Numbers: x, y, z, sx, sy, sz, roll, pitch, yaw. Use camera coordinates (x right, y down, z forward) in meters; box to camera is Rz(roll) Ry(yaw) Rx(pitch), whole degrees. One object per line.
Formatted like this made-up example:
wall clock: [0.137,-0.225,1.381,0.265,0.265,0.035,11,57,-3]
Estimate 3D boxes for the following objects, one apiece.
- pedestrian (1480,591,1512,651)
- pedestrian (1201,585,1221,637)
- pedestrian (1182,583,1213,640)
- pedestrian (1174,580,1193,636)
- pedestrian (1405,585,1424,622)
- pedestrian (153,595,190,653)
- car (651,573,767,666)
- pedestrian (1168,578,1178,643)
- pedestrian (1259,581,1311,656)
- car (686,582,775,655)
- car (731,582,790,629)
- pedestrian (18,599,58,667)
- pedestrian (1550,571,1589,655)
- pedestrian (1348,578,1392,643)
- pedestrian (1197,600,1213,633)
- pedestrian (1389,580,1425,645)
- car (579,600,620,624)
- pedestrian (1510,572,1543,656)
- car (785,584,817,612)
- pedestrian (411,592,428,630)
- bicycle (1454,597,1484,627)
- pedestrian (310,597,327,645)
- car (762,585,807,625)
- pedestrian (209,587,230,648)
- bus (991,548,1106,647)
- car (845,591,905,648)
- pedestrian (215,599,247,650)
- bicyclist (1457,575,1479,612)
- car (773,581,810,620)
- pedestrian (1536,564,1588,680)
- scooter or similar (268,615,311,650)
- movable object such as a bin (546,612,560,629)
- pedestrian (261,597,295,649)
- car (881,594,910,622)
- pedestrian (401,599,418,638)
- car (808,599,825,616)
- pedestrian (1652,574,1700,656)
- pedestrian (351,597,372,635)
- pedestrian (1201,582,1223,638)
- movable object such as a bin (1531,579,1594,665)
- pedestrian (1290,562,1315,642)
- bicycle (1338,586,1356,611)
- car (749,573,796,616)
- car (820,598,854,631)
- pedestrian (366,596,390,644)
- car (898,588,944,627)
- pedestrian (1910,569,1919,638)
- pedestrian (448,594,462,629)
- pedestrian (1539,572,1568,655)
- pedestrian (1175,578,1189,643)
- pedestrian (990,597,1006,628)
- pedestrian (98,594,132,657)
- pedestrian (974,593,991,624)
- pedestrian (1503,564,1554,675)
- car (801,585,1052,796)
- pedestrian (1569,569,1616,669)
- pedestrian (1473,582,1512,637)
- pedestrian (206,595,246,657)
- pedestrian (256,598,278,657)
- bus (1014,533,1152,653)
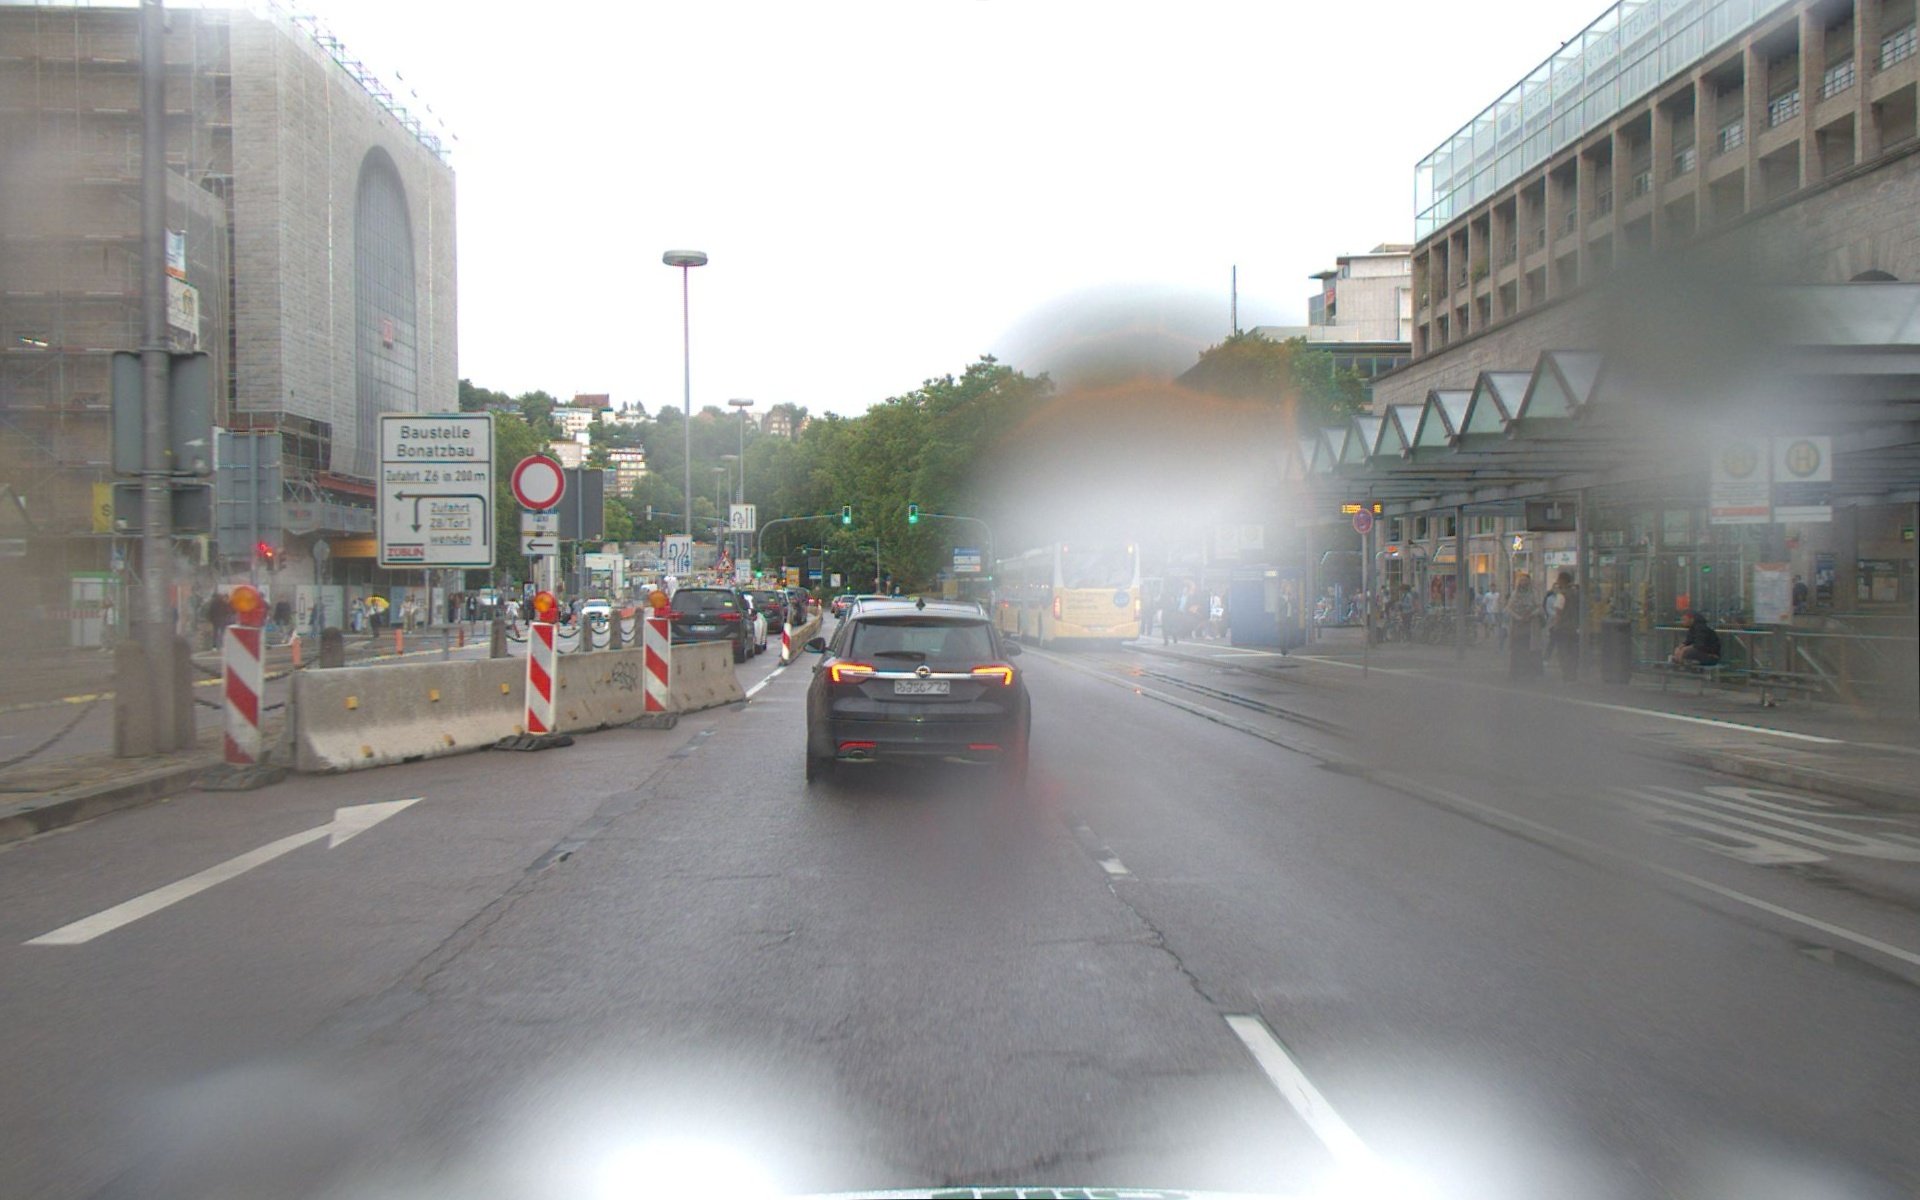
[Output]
pedestrian: [12.720,0.492,39.259,0.541,1.401,0.507,0,0,-8]
pedestrian: [8.510,0.363,56.001,0.597,1.753,0.592,0,0,1]
pedestrian: [7.824,0.363,54.418,0.963,1.869,0.836,0,0,13]
pedestrian: [7.565,0.265,56.038,0.553,1.869,0.569,0,0,0]
pedestrian: [22.928,0.184,83.483,0.717,1.823,0.788,-1,0,-4]
pedestrian: [-26.047,0.788,54.642,0.786,1.873,0.868,0,0,0]
car: [-5.488,0.401,36.689,1.953,1.895,4.831,-1,0,-2]
pedestrian: [6.152,0.300,47.842,0.238,1.869,0.512,0,0,0]
pedestrian: [7.524,0.425,38.290,0.749,1.720,0.991,0,0,-24]
car: [-5.785,0.437,42.194,1.954,1.736,4.828,-1,0,-5]
car: [-7.440,0.190,62.023,1.954,1.683,4.637,-1,0,-5]
pedestrian: [-25.505,0.905,45.776,0.727,1.873,0.656,0,0,0]
pedestrian: [13.684,0.279,37.124,0.599,1.863,0.587,0,0,-32]
pedestrian: [11.855,0.294,47.823,0.779,1.836,0.982,0,0,-31]
pedestrian: [9.517,0.627,64.264,0.504,1.254,0.770,-1,0,0]
pedestrian: [12.026,0.323,44.553,0.733,1.724,0.902,0,0,0]
car: [-23.565,0.799,108.169,1.954,1.493,3.997,1,0,-3]
pedestrian: [13.002,0.319,37.977,0.594,1.892,0.625,0,0,6]
car: [-10.858,-0.128,112.601,1.956,1.878,5.054,1,-1,-7]
pedestrian: [-26.943,0.563,82.433,0.759,1.873,0.831,0,0,-17]
bicycle: [22.012,0.511,71.555,0.646,1.277,2.012,0,0,-1]
pedestrian: [-25.116,0.831,64.731,0.561,1.873,0.701,0,0,-17]
car: [-8.400,0.226,79.501,1.954,1.818,4.843,-1,0,-5]
pedestrian: [-22.912,0.547,51.185,0.331,1.873,0.509,0,0,12]
bus: [3.045,-0.059,59.871,3.052,3.261,9.234,1,0,-4]
car: [-2.664,0.594,52.396,1.794,1.715,4.132,0,0,-2]
pedestrian: [-27.216,0.910,61.744,0.786,1.873,0.850,0,0,0]
bicyclist: [21.986,-0.270,71.572,0.636,1.581,0.907,-1,-1,-1]
car: [-8.620,0.017,84.956,1.680,1.925,4.606,-1,0,-4]
pedestrian: [9.812,0.358,26.964,0.614,1.869,0.641,0,0,-1]
scooter or similar: [-21.248,1.012,52.449,0.450,1.084,1.237,0,0,31]
movable object such as a bin: [-24.607,1.244,99.960,0.744,0.987,0.720,-1,0,-6]
pedestrian: [-25.197,0.842,61.103,0.822,1.873,1.058,0,0,0]
car: [-3.919,0.487,99.839,1.641,1.609,3.237,1,-1,-4]
pedestrian: [-24.419,0.803,73.414,0.670,1.715,0.835,0,0,-17]
car: [-14.670,0.773,169.567,1.672,1.694,3.702,1,-1,-5]
pedestrian: [16.562,0.335,38.279,0.752,1.863,0.744,0,0,-32]
pedestrian: [-26.522,0.698,73.290,0.662,1.642,0.838,0,0,-1]
pedestrian: [8.428,0.319,55.329,0.680,1.869,0.556,0,0,13]
movable object such as a bin: [11.955,0.431,32.832,0.654,1.681,1.040,0,0,-26]
pedestrian: [9.725,0.066,46.914,0.578,2.254,0.587,0,0,-1]
bicycle: [25.143,-0.101,107.423,0.776,1.589,2.132,0,0,4]
car: [-8.281,-0.250,73.500,1.955,1.818,4.449,-1,0,-5]
car: [-7.788,0.915,104.697,1.946,2.049,4.363,1,-1,-7]
pedestrian: [-23.008,0.790,65.362,0.861,1.873,0.834,0,0,-17]
car: [-1.837,0.338,76.513,1.816,1.747,3.995,1,-1,-6]
pedestrian: [24.482,0.093,41.583,0.744,1.740,0.752,0,0,-3]
pedestrian: [-27.103,0.623,88.752,0.525,1.873,0.771,0,0,-4]
pedestrian: [13.676,0.307,38.114,0.584,1.907,0.590,0,0,25]
pedestrian: [6.461,0.302,48.071,0.339,1.869,0.533,0,0,0]
pedestrian: [2.270,0.767,99.104,0.734,1.836,0.706,0,0,-19]
pedestrian: [-25.551,0.764,50.012,0.706,1.873,0.612,0,0,0]
pedestrian: [1.379,0.503,101.888,0.774,1.871,0.945,-1,0,-18]
pedestrian: [9.636,0.322,28.063,0.662,1.869,0.574,0,0,-1]
car: [-0.309,0.662,14.541,1.839,1.534,4.850,0,0,-2]
pedestrian: [11.948,0.350,31.251,0.734,1.869,0.762,0,0,13]
pedestrian: [17.161,0.302,53.331,0.968,1.724,0.854,0,0,37]
pedestrian: [-22.465,0.794,50.639,0.688,1.873,0.877,0,0,25]
pedestrian: [-22.016,0.871,52.545,0.498,1.873,0.703,0,0,-9]
bus: [3.577,-0.149,50.724,3.079,3.304,9.129,1,0,-3]
